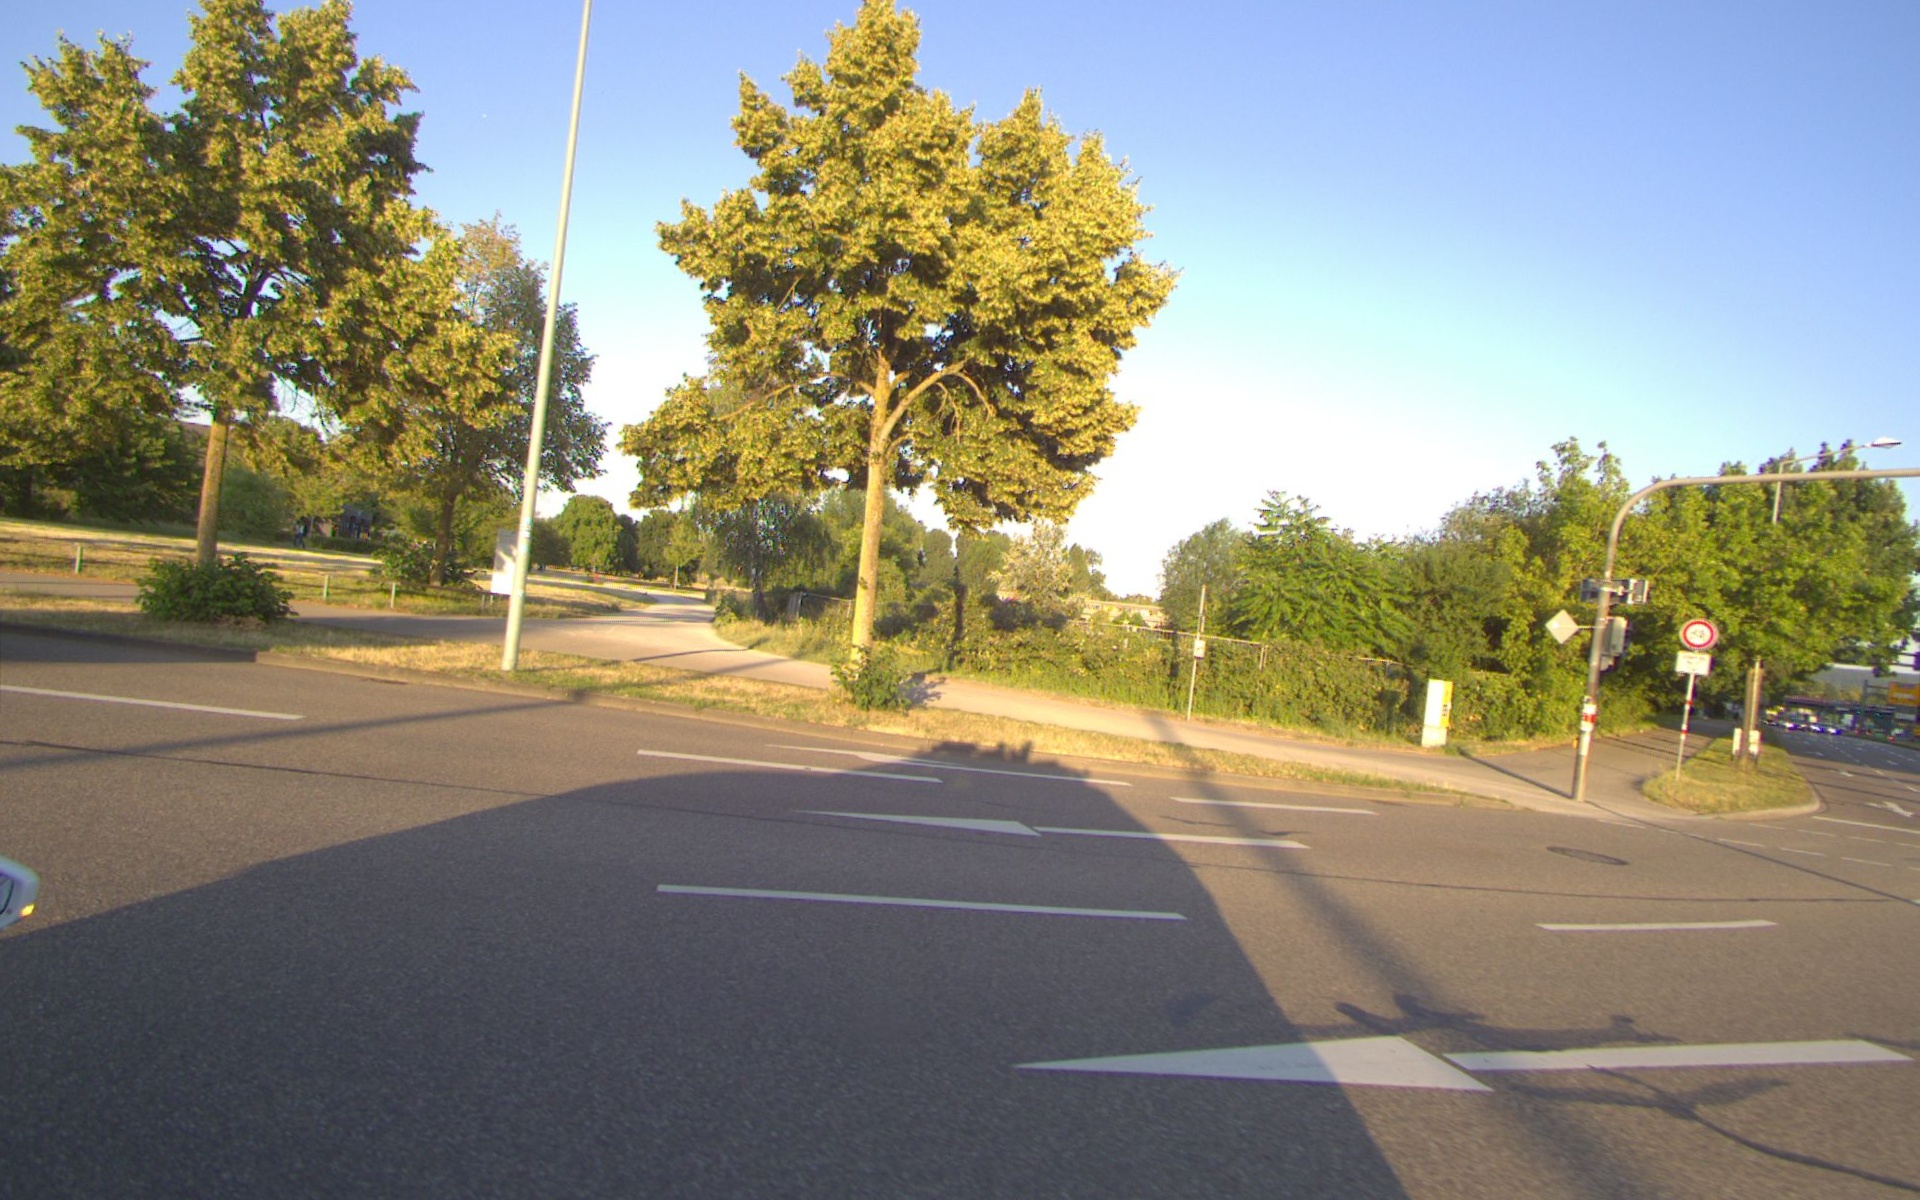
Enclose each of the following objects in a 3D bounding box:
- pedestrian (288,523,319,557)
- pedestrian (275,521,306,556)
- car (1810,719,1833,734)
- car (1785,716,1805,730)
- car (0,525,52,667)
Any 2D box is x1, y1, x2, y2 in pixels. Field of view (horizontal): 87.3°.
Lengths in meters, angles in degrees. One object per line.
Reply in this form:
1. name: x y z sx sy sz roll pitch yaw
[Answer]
1. pedestrian: -39.266 -3.581 60.189 0.894 1.886 1.105 7 0 6
2. pedestrian: -40.480 -3.710 60.804 0.894 1.886 1.105 7 0 6
3. car: 109.619 16.075 128.006 1.971 1.634 3.984 7 -1 40
4. car: 118.084 17.443 142.312 1.971 1.634 3.984 7 -1 40
5. car: -11.305 -0.336 8.751 4.593 1.357 1.955 8 -2 -10
